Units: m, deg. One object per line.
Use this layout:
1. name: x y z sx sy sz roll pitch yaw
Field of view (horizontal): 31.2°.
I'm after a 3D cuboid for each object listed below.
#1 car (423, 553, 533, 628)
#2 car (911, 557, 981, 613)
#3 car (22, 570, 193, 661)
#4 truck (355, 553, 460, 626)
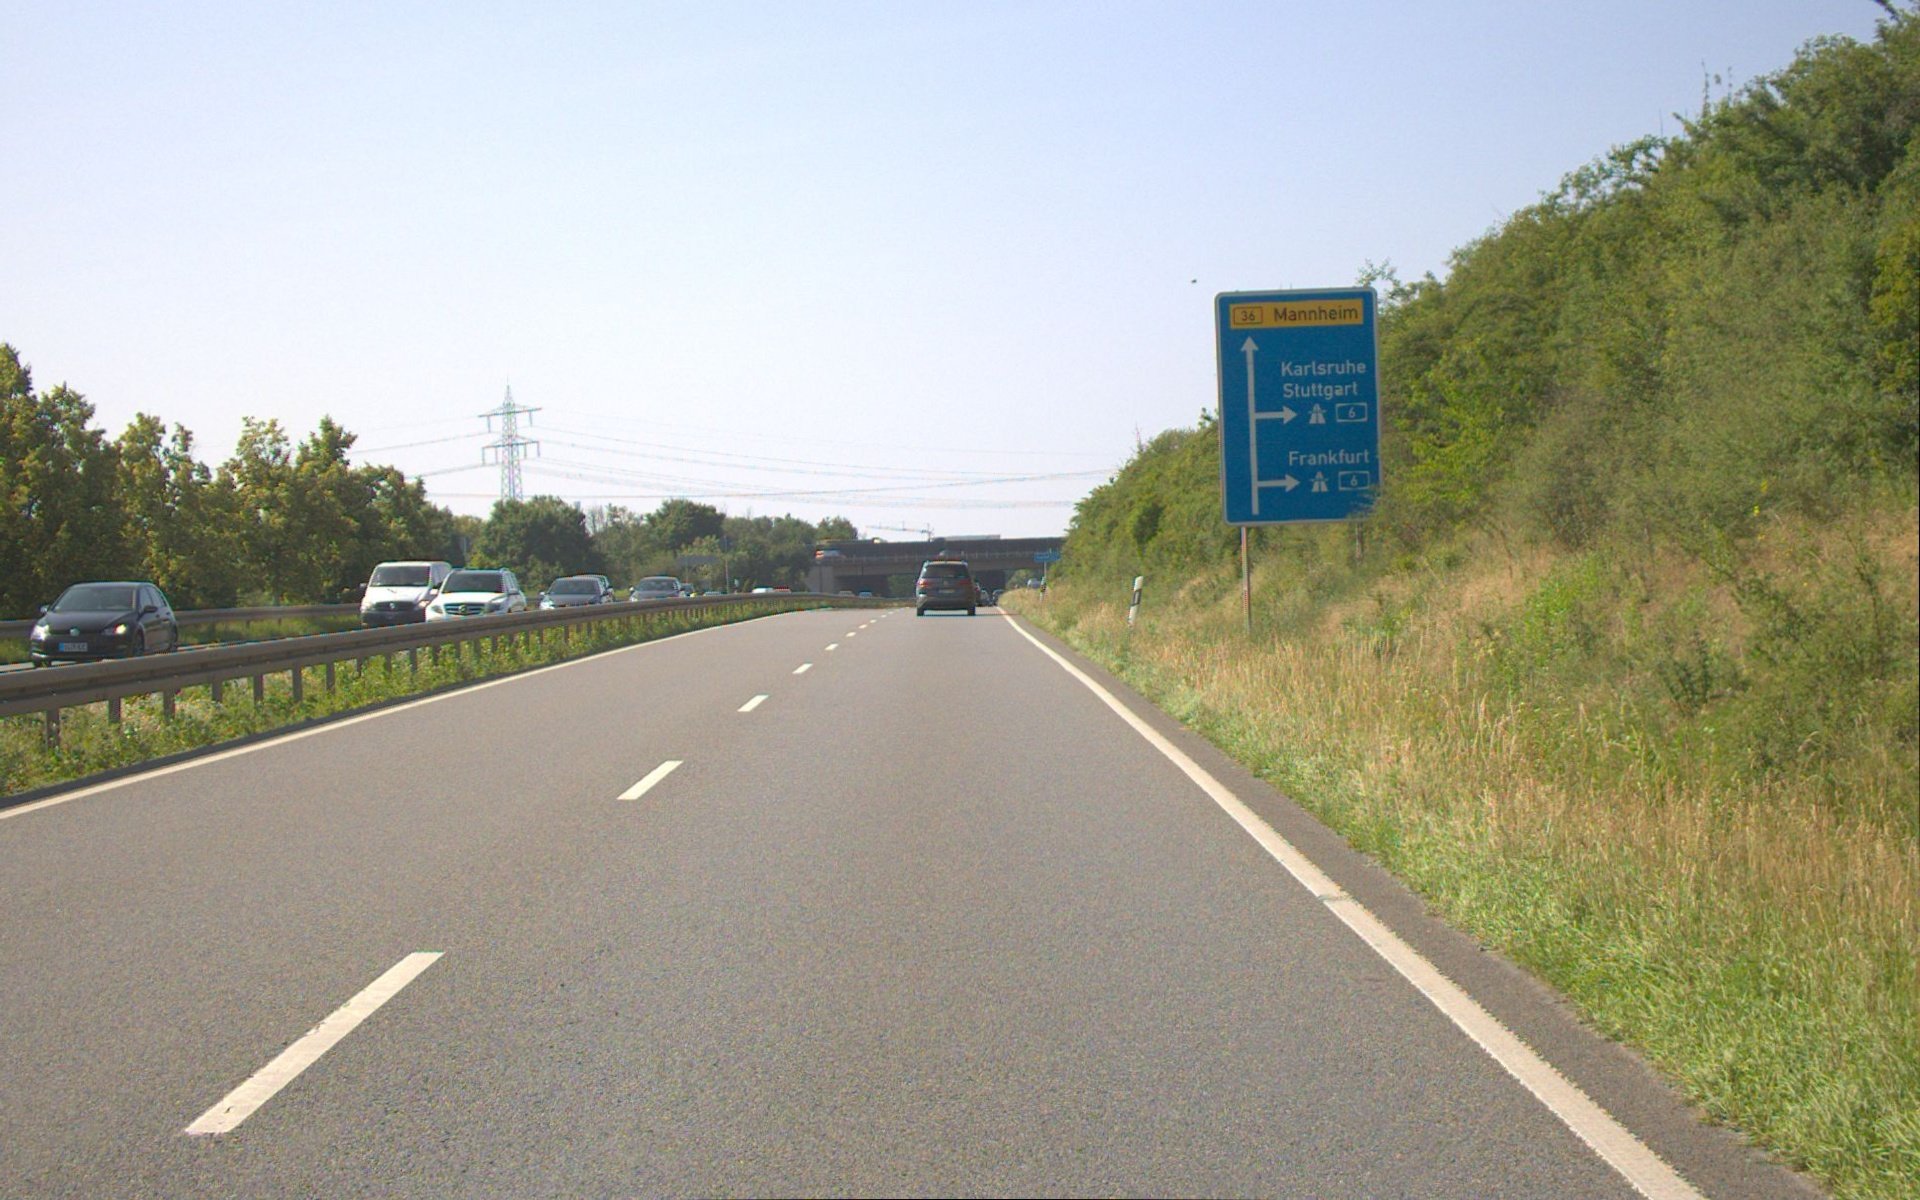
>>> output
1. car: -10.968 -0.237 78.491 1.839 1.659 4.721 0 0 0
2. car: -0.408 -0.430 103.819 1.850 1.639 3.999 -1 0 3
3. car: -14.631 0.236 59.230 1.839 1.467 4.459 0 1 0
4. truck: -14.544 -0.302 90.714 1.922 1.834 5.292 0 1 0
